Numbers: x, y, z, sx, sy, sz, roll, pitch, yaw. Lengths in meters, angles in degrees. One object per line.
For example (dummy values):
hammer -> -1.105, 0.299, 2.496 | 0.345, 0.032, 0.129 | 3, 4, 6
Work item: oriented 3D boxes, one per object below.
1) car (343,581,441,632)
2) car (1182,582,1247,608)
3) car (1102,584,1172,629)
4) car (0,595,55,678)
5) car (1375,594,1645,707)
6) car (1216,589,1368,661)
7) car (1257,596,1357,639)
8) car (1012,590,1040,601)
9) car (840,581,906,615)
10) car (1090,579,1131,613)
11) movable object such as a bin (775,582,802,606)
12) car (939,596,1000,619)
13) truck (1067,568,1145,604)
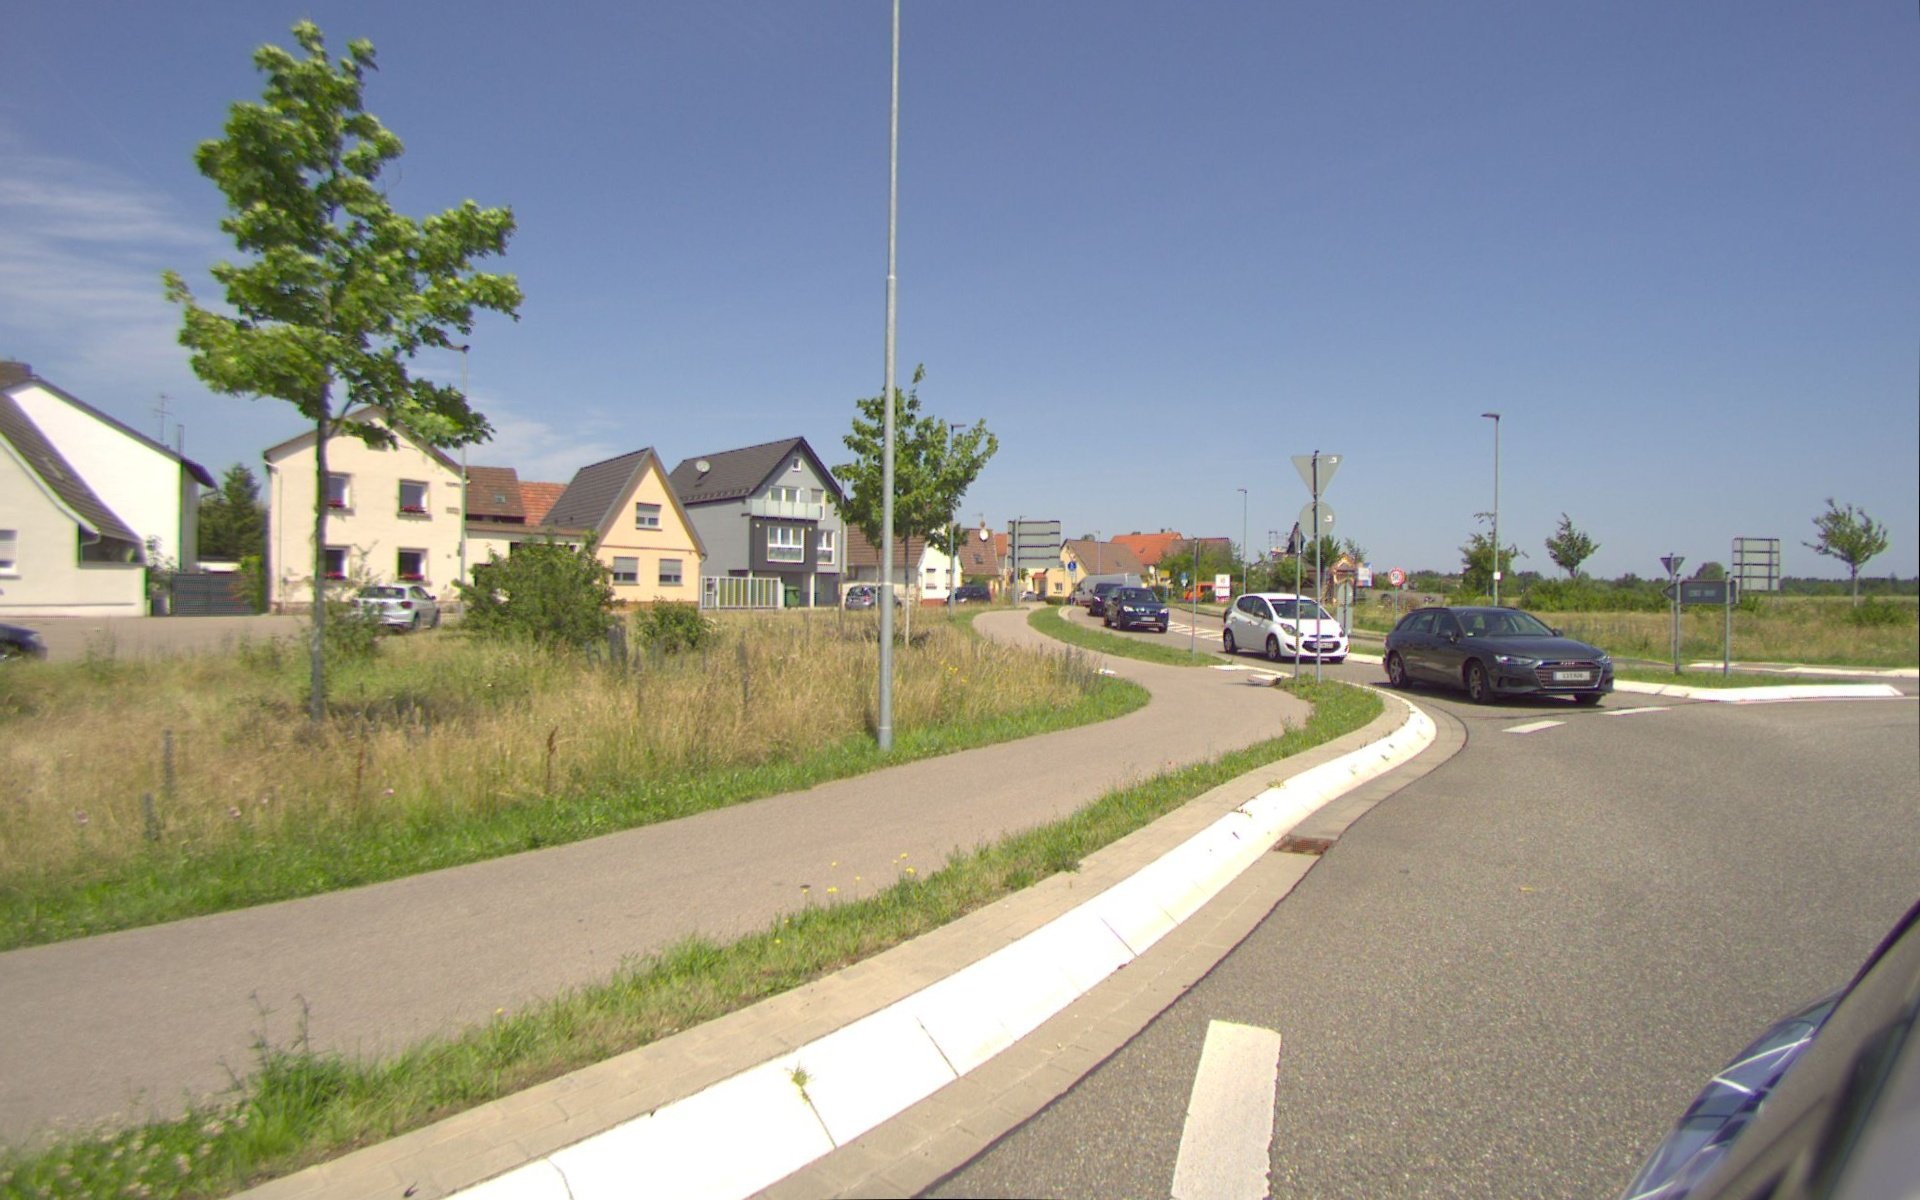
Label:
car -> -16.718, 0.144, 29.970 | 1.616, 1.410, 4.009 | 0, 1, -15
car -> 25.878, -0.535, 102.938 | 2.318, 2.616, 6.121 | 1, 0, -44
car -> 6.615, 0.209, 38.151 | 1.688, 1.581, 4.154 | -1, 1, -3
car -> -16.862, 0.595, 15.632 | 1.730, 1.328, 3.964 | 1, 1, 26
car -> 8.517, 0.686, 16.226 | 1.834, 1.452, 4.521 | -2, 1, 0
car -> 8.084, 0.533, 25.138 | 1.831, 1.581, 4.527 | -1, 1, -7
car -> 12.983, 0.607, 38.211 | 1.801, 1.509, 4.870 | 0, 0, -4
car -> 8.839, -0.582, 135.045 | 3.514, 1.488, 1.519 | 0, 1, -36
car -> -4.879, -0.146, 57.145 | 1.838, 1.853, 3.959 | 1, 1, 29
car -> 7.335, -0.226, 49.074 | 1.839, 1.581, 4.713 | 0, 1, 9
movable object such as a bin -> -10.171, -0.338, 60.104 | 1.078, 1.407, 1.189 | 1, 0, 33
car -> 0.609, 0.461, 65.122 | 3.704, 1.368, 1.850 | 0, 1, -44
truck -> 10.762, -1.036, 74.932 | 2.200, 2.537, 5.623 | 0, 1, -43
